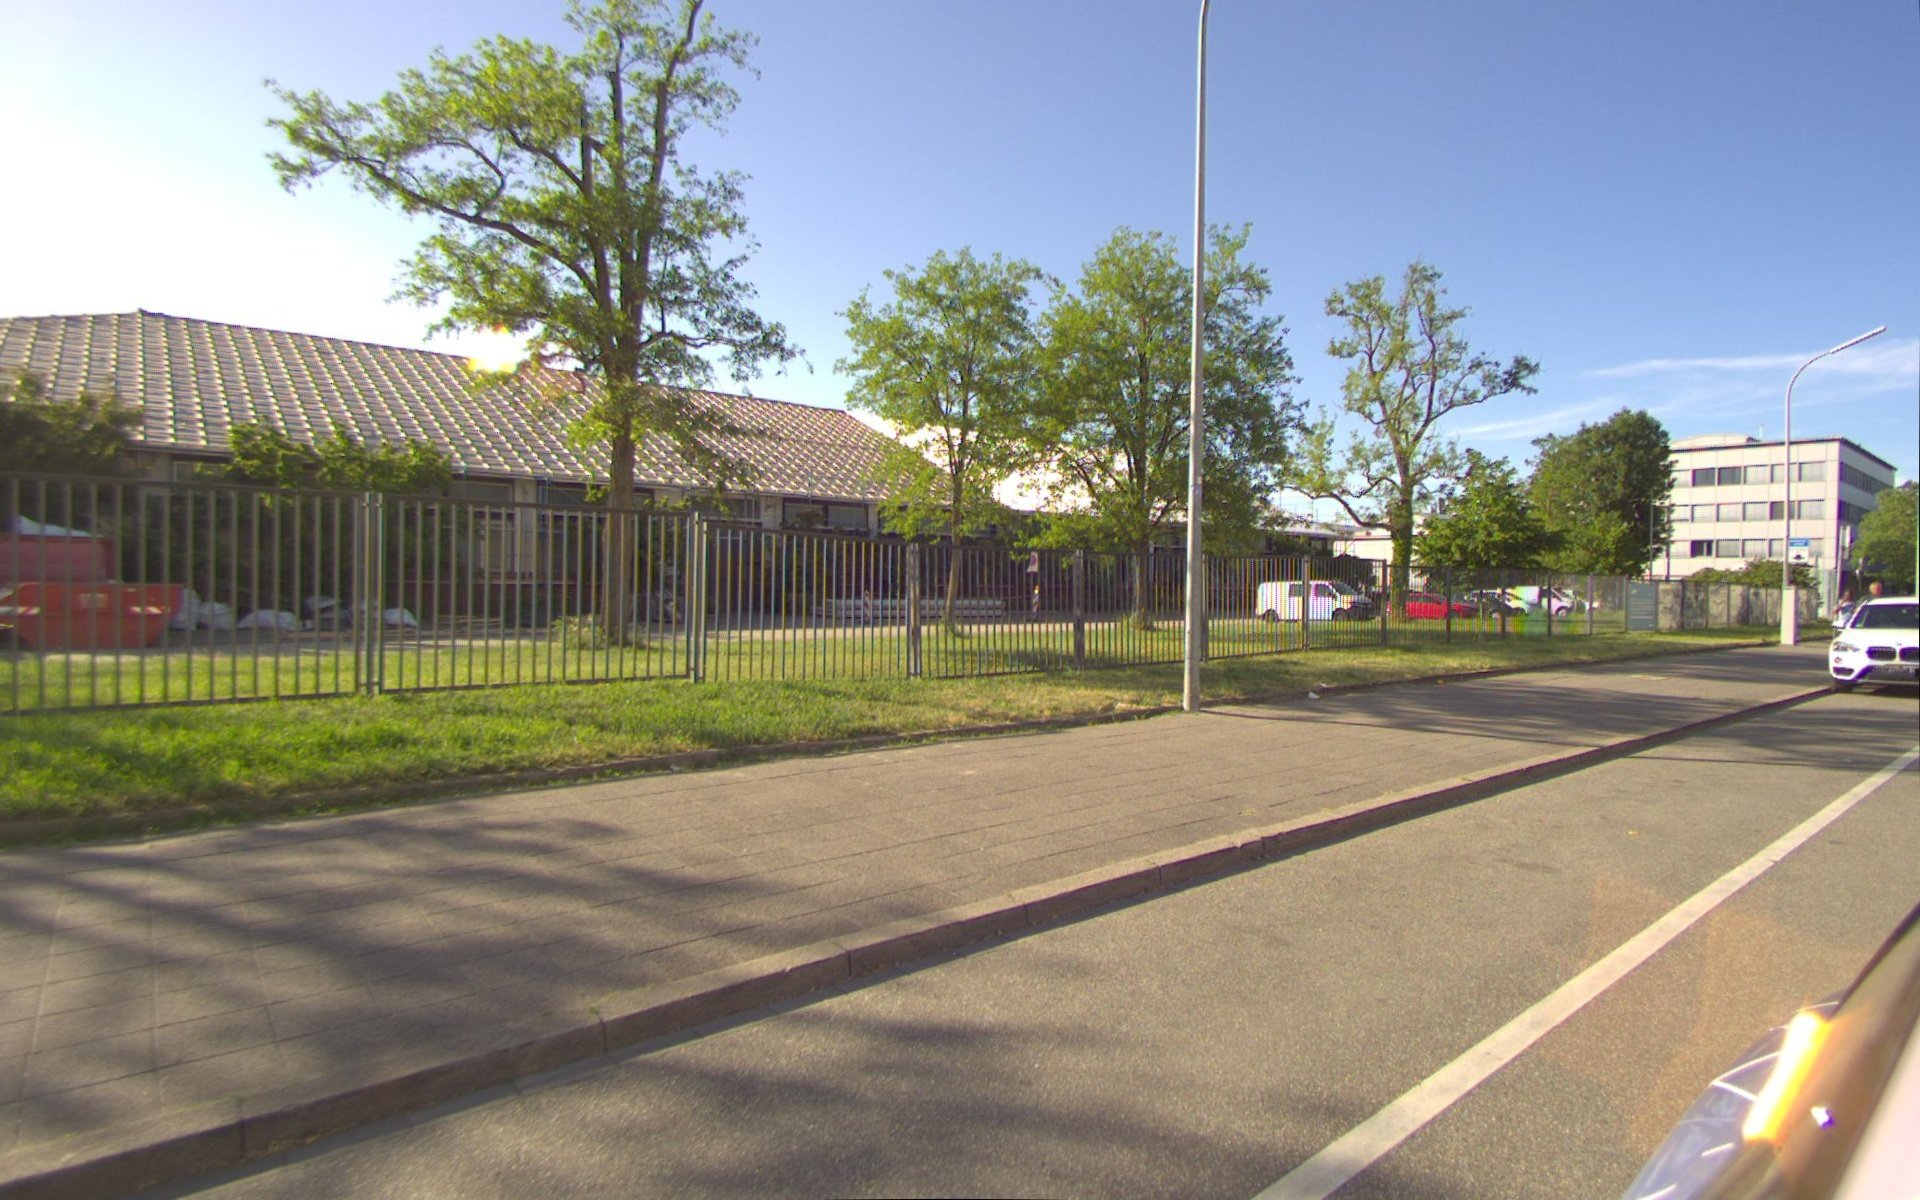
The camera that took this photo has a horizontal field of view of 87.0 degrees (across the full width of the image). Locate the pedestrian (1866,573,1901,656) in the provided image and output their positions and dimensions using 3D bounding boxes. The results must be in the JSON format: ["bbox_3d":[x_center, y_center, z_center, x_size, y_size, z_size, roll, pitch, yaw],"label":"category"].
[{"bbox_3d":[19.532,0.296,21.400,0.520,1.730,0.514,-1,-1,44],"label":"pedestrian"}]

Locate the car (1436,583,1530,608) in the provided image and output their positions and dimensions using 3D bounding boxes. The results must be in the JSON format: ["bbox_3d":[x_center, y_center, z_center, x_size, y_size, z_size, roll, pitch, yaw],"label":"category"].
[{"bbox_3d":[28.346,-0.217,54.901,1.847,1.268,4.147,0,0,-42],"label":"car"}]

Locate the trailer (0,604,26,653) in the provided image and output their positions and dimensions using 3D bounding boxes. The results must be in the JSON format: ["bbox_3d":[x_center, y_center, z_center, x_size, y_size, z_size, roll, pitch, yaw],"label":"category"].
[{"bbox_3d":[-21.790,0.579,19.709,5.008,0.931,1.905,0,1,-32],"label":"trailer"}]

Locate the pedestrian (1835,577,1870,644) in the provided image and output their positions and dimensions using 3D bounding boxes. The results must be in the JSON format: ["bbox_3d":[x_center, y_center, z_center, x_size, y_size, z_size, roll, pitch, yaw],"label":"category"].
[{"bbox_3d":[21.900,0.247,24.836,0.671,1.632,0.540,-1,-1,-41],"label":"pedestrian"}]

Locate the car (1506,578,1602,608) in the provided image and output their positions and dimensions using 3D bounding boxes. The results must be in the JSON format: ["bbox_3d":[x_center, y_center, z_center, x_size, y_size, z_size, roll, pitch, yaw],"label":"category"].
[{"bbox_3d":[35.554,-0.441,60.630,1.967,1.689,4.631,0,1,-45],"label":"car"}]

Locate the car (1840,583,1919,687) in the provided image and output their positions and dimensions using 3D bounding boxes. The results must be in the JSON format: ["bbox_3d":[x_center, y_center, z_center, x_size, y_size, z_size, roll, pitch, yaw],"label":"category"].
[{"bbox_3d":[16.435,0.537,17.135,4.189,1.608,1.815,0,0,-42],"label":"car"}]

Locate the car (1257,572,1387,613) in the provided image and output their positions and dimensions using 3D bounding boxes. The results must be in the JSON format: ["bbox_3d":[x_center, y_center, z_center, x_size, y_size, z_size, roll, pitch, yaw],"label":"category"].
[{"bbox_3d":[15.690,-0.296,44.106,2.060,1.665,4.972,0,0,-42],"label":"car"}]

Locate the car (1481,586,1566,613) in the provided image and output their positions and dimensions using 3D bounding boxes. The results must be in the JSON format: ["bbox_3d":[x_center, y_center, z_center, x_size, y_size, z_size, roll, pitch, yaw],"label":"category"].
[{"bbox_3d":[31.813,-0.051,57.232,1.647,1.397,3.894,0,1,-42],"label":"car"}]

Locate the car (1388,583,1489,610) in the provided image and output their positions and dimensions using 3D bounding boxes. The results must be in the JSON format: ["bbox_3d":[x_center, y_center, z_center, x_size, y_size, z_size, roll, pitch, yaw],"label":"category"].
[{"bbox_3d":[23.532,-0.135,49.889,1.797,1.268,4.147,0,0,-42],"label":"car"}]
